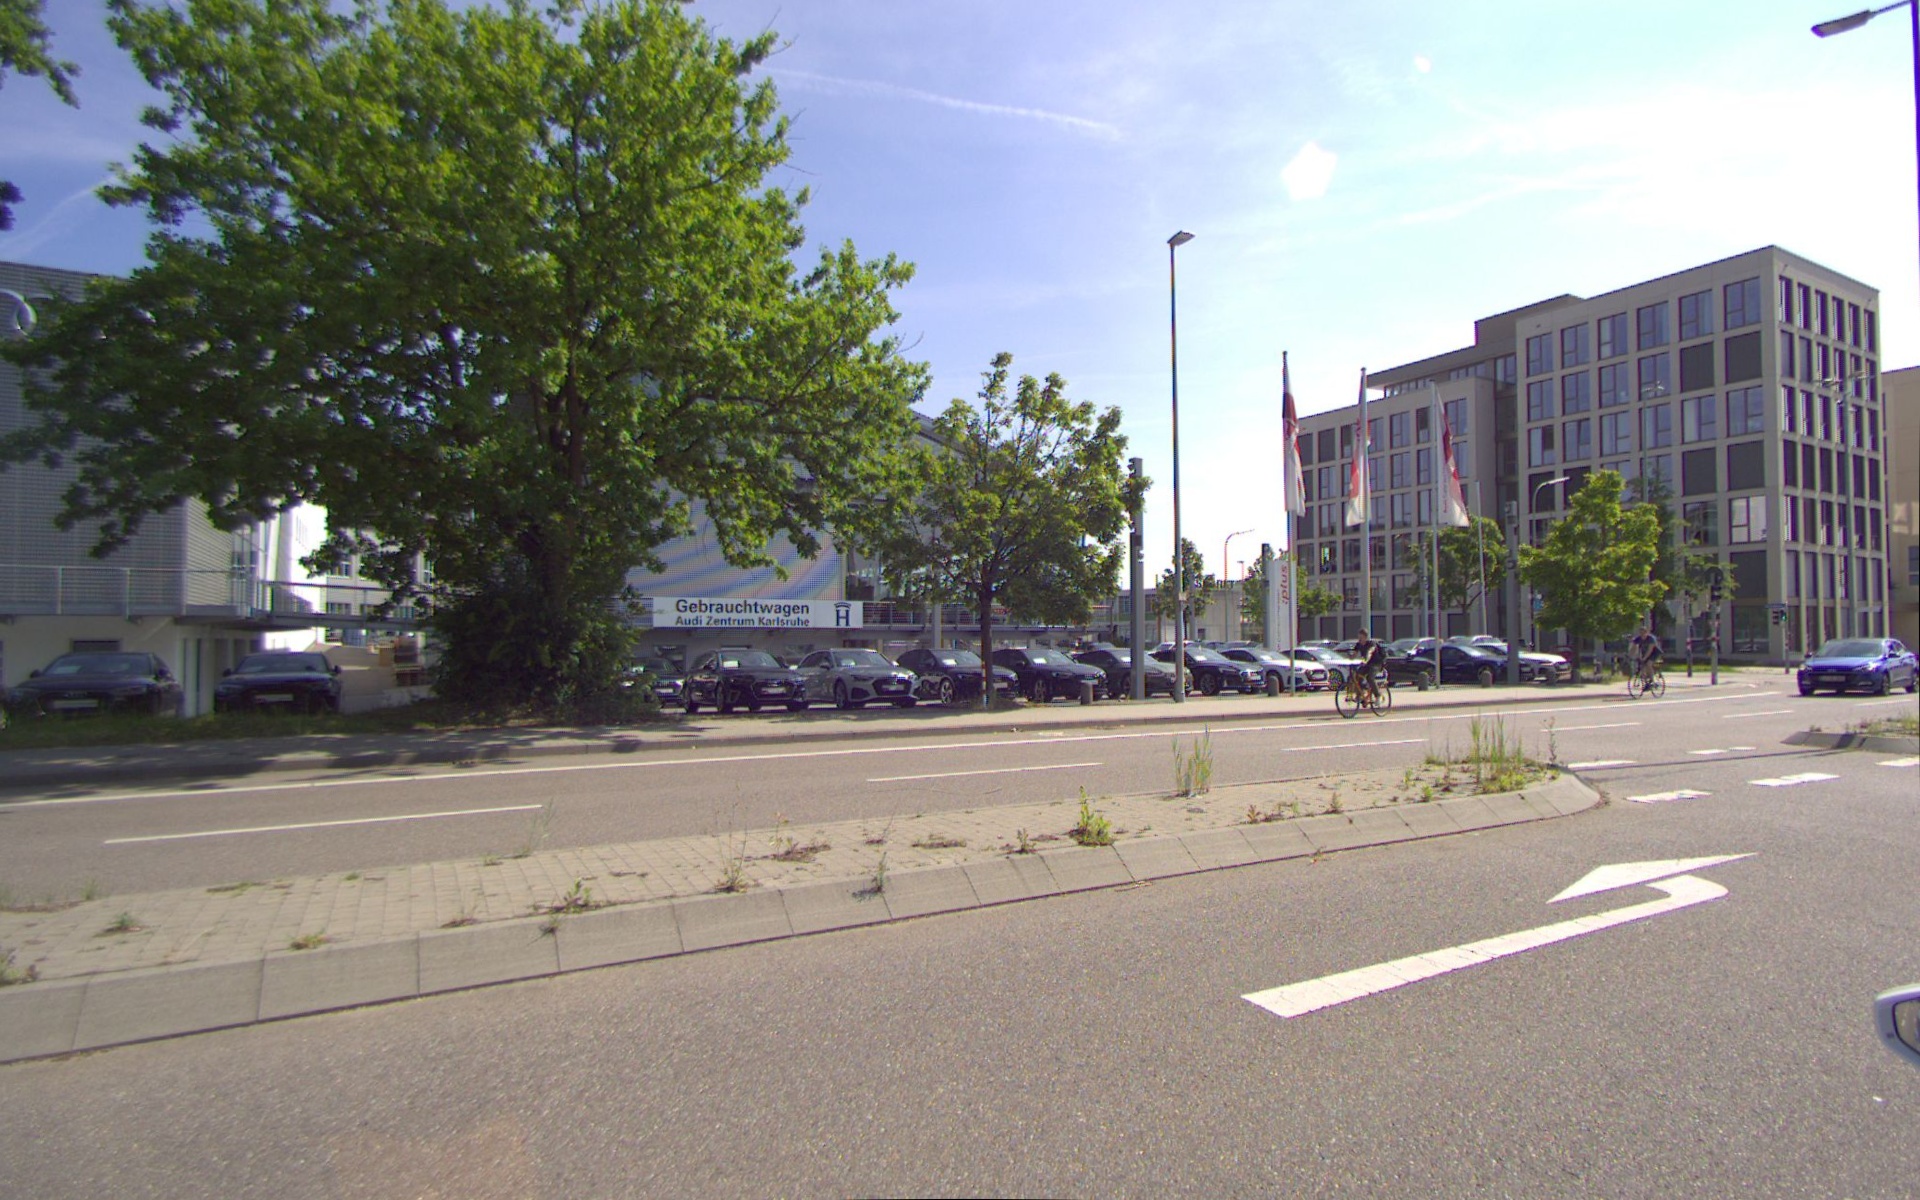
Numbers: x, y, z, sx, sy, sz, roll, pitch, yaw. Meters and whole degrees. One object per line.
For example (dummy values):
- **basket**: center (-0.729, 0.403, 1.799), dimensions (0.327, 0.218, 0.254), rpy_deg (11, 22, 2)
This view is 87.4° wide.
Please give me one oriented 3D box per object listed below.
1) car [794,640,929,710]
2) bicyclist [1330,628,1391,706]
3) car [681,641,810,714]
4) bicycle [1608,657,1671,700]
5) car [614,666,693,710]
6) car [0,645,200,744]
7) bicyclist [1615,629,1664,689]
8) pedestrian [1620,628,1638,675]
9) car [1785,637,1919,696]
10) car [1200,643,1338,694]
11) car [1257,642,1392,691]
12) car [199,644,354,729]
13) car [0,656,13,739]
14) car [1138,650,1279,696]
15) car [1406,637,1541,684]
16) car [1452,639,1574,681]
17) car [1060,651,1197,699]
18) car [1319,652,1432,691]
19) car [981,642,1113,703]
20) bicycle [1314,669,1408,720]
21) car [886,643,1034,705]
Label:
- **car**: center (-2.379, 1.775, 23.341), dimensions (1.886, 1.437, 3.864), rpy_deg (0, -5, -26)
- **bicyclist**: center (8.105, 1.342, 20.340), dimensions (1.024, 1.546, 0.616), rpy_deg (1, -3, -29)
- **car**: center (-4.848, 1.758, 22.302), dimensions (1.886, 1.437, 3.976), rpy_deg (0, -5, -26)
- **bicycle**: center (17.632, 2.017, 26.066), dimensions (1.854, 1.065, 0.582), rpy_deg (1, -4, -31)
- **car**: center (-9.704, 2.789, 31.641), dimensions (1.727, 1.268, 3.642), rpy_deg (0, -5, -28)
- **car**: center (-14.738, 1.643, 17.326), dimensions (2.027, 1.460, 4.287), rpy_deg (1, -6, -30)
- **bicyclist**: center (17.622, 1.531, 26.052), dimensions (1.016, 1.521, 0.627), rpy_deg (1, -3, -31)
- **pedestrian**: center (29.527, 2.273, 44.343), dimensions (0.565, 2.040, 0.559), rpy_deg (-1, -2, 28)
- **car**: center (23.486, 1.699, 26.414), dimensions (3.799, 1.376, 1.672), rpy_deg (0, -2, -33)
- **car**: center (9.295, 2.113, 30.486), dimensions (1.824, 1.350, 3.864), rpy_deg (0, -5, -26)
- **car**: center (11.436, 2.138, 31.779), dimensions (1.726, 1.382, 3.864), rpy_deg (0, -5, -26)
- **car**: center (-12.454, 1.616, 18.558), dimensions (1.976, 1.376, 3.972), rpy_deg (1, -6, -29)
- **car**: center (-17.226, 1.574, 16.078), dimensions (1.976, 1.460, 4.124), rpy_deg (1, -6, -29)
- **car**: center (7.079, 2.138, 29.021), dimensions (1.886, 1.181, 3.864), rpy_deg (0, -5, -26)
- **car**: center (18.226, 2.184, 35.830), dimensions (1.844, 1.483, 3.861), rpy_deg (0, -5, -28)
- **car**: center (20.314, 2.248, 37.013), dimensions (1.620, 1.375, 3.581), rpy_deg (0, -5, -29)
- **car**: center (4.533, 2.085, 27.613), dimensions (1.771, 1.167, 3.864), rpy_deg (0, -5, -26)
- **car**: center (14.203, 2.440, 34.335), dimensions (3.388, 1.189, 1.849), rpy_deg (1, -5, -30)
- **car**: center (2.180, 1.931, 26.190), dimensions (1.638, 1.437, 3.864), rpy_deg (0, -5, -26)
- **bicycle**: center (8.125, 1.890, 20.337), dimensions (1.949, 0.953, 0.677), rpy_deg (1, -3, -30)
- **car**: center (-0.108, 1.866, 24.854), dimensions (2.011, 1.348, 4.155), rpy_deg (0, -5, -26)
